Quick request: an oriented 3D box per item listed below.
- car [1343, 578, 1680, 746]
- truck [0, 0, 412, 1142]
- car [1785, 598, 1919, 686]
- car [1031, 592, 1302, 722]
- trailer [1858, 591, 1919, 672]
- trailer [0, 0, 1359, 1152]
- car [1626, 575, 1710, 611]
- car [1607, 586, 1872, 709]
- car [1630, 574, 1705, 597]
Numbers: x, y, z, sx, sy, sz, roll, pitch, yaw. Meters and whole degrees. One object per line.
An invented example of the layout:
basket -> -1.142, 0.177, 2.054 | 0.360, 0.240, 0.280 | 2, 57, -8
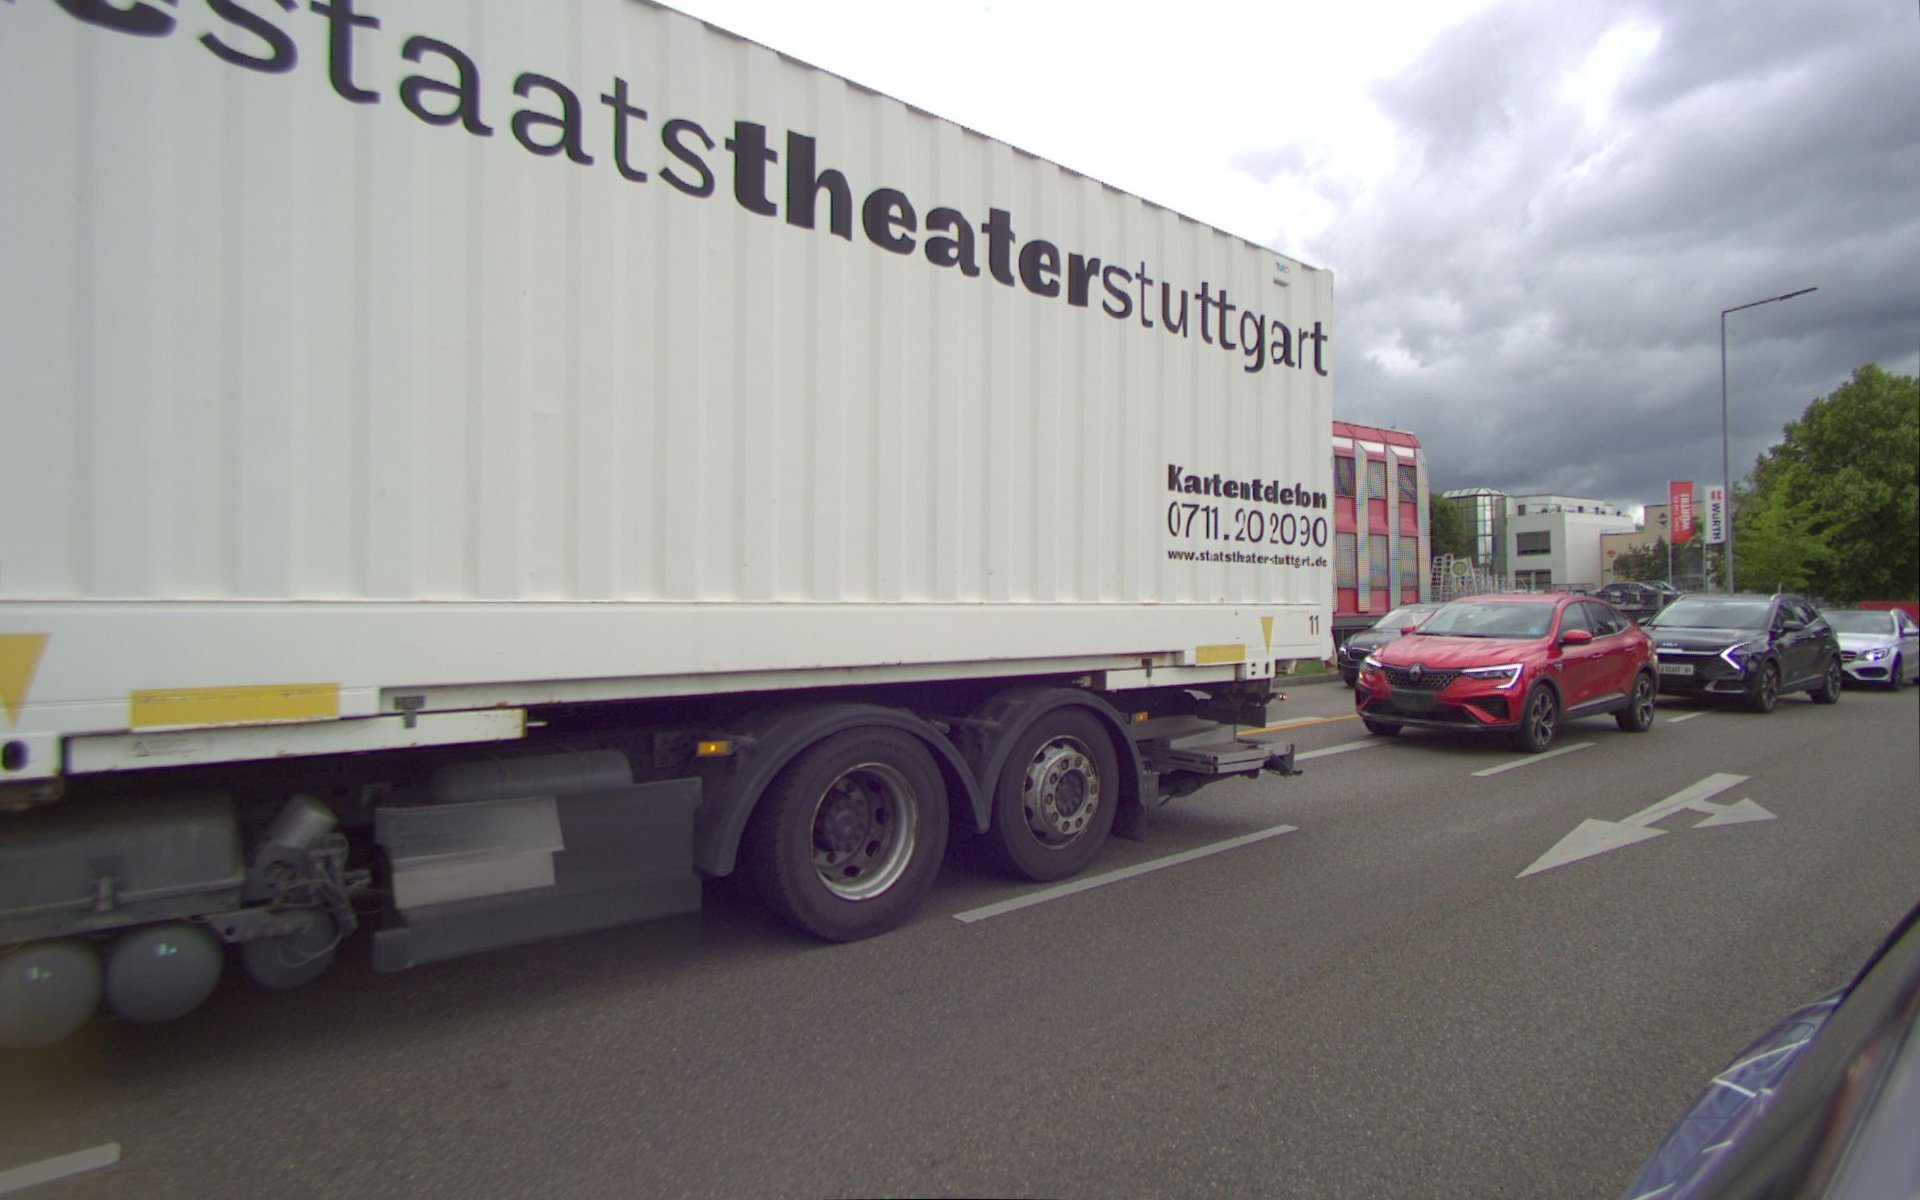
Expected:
car -> 6.221, 0.560, 11.233 | 4.239, 1.543, 1.712 | 0, 0, -37
truck -> -4.107, -0.501, 2.911 | 4.032, 3.752, 2.576 | 1, 0, -39
car -> 17.176, 0.712, 18.943 | 4.405, 1.466, 1.676 | 0, 0, -37
car -> 2.792, 0.666, 13.327 | 3.624, 1.476, 1.626 | 1, -1, -41
trailer -> 20.228, 0.644, 21.265 | 3.242, 1.614, 1.413 | 1, 0, -37
trailer -> -1.010, -0.470, 5.481 | 7.625, 3.752, 2.571 | 0, 0, -40
car -> 41.828, -0.401, 59.852 | 1.610, 1.984, 3.769 | 3, -3, -31
car -> 11.596, 0.605, 14.983 | 4.319, 1.581, 1.851 | 0, 0, -34
car -> 47.741, -0.956, 68.347 | 1.720, 1.382, 3.769 | 3, -2, -31
